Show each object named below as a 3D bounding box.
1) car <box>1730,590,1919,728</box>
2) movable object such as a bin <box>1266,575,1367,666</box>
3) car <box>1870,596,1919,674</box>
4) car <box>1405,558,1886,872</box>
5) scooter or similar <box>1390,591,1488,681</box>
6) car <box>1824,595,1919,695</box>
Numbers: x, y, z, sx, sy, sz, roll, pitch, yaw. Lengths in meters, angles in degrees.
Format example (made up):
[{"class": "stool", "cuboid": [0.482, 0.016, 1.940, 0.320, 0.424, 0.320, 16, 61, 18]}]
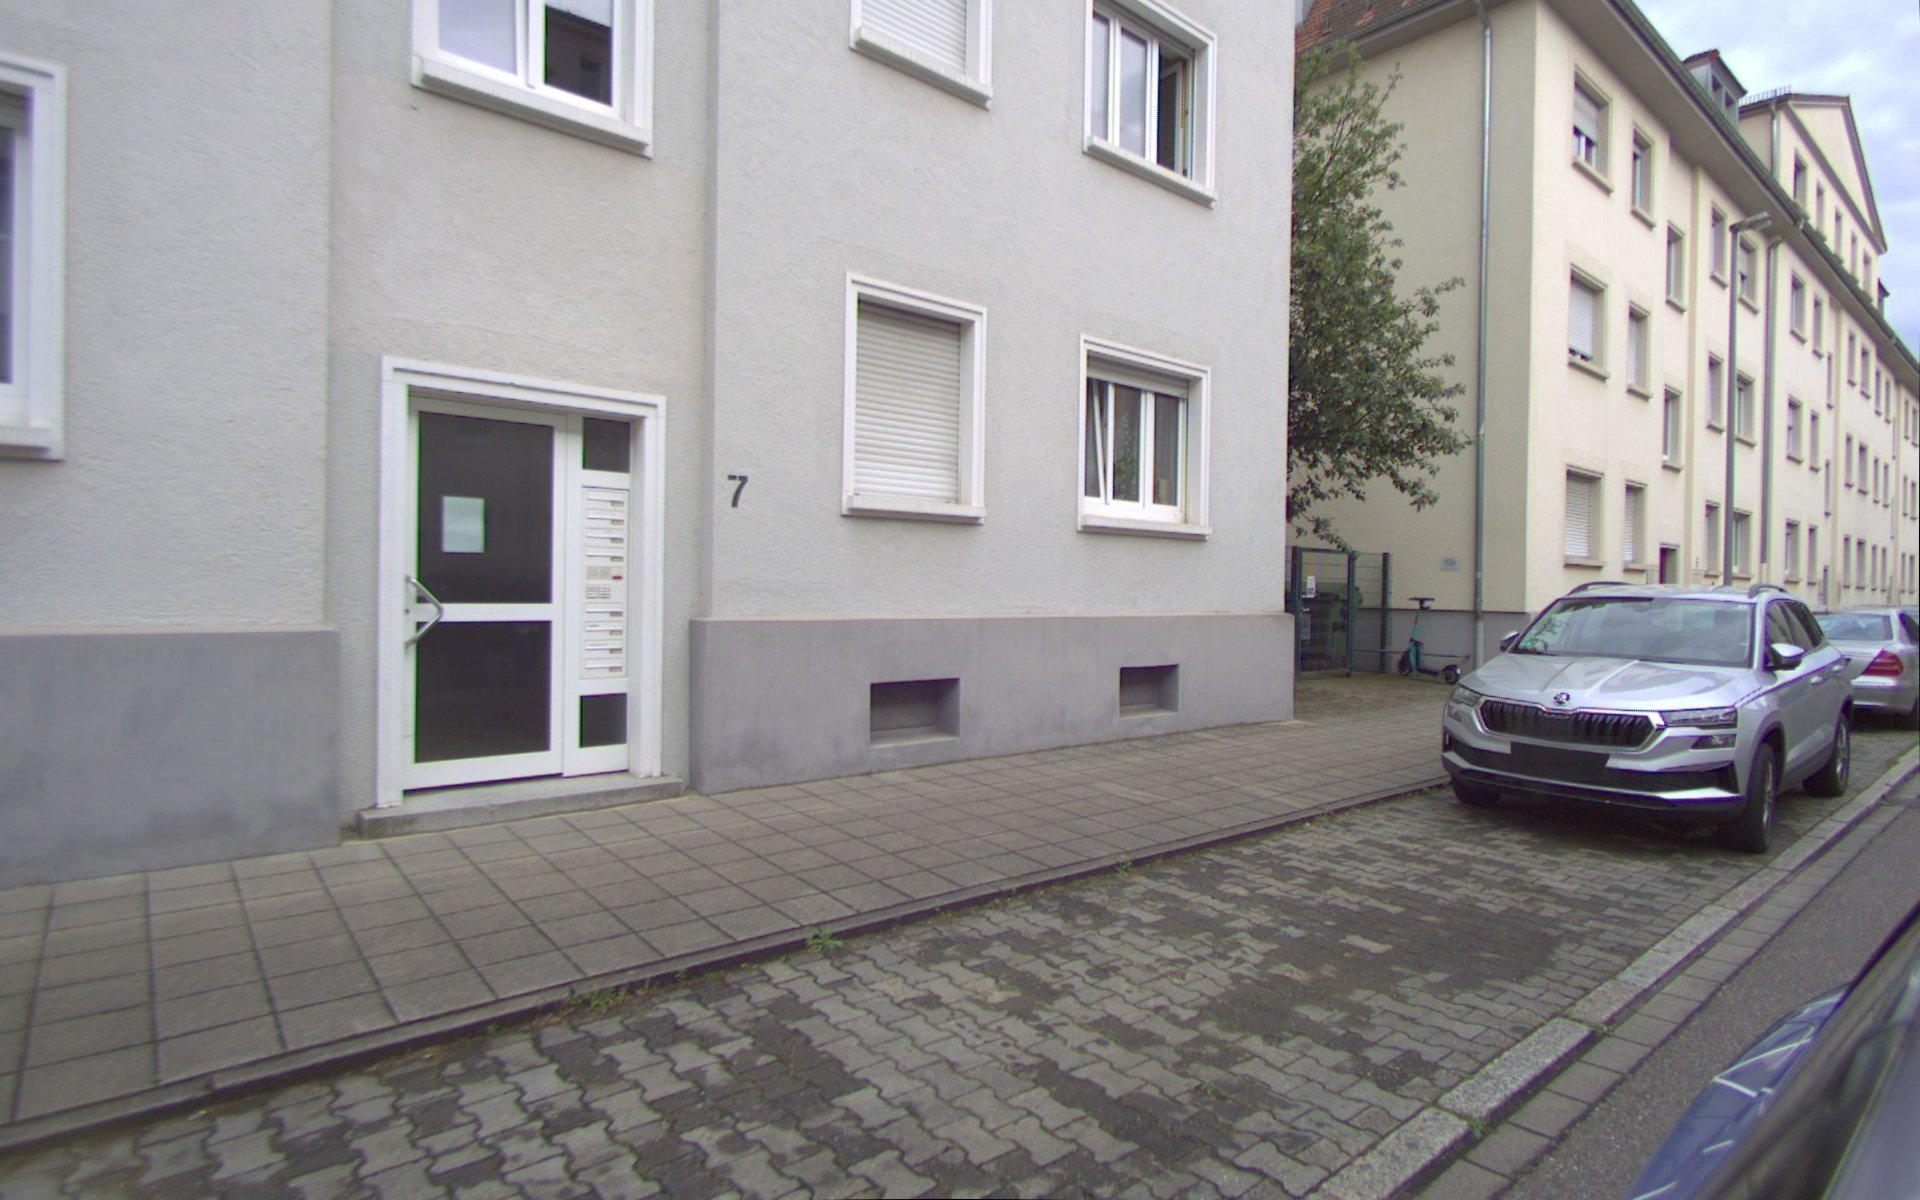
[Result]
[{"class": "car", "cuboid": [11.706, 0.644, 13.100, 4.422, 1.495, 1.729, 0, 1, -38]}, {"class": "movable object such as a bin", "cuboid": [5.801, 0.312, 16.479, 1.283, 1.396, 1.034, 0, 1, -41]}, {"class": "car", "cuboid": [19.631, 0.674, 20.183, 3.767, 1.468, 1.851, 0, 0, -43]}, {"class": "car", "cuboid": [5.110, 0.582, 7.343, 4.018, 1.662, 1.824, 0, 1, -40]}, {"class": "scooter or similar", "cuboid": [7.149, 0.515, 15.145, 0.512, 1.261, 1.284, 1, 1, -23]}, {"class": "car", "cuboid": [15.671, 0.684, 16.689, 3.801, 1.495, 1.606, 0, 0, -41]}]
